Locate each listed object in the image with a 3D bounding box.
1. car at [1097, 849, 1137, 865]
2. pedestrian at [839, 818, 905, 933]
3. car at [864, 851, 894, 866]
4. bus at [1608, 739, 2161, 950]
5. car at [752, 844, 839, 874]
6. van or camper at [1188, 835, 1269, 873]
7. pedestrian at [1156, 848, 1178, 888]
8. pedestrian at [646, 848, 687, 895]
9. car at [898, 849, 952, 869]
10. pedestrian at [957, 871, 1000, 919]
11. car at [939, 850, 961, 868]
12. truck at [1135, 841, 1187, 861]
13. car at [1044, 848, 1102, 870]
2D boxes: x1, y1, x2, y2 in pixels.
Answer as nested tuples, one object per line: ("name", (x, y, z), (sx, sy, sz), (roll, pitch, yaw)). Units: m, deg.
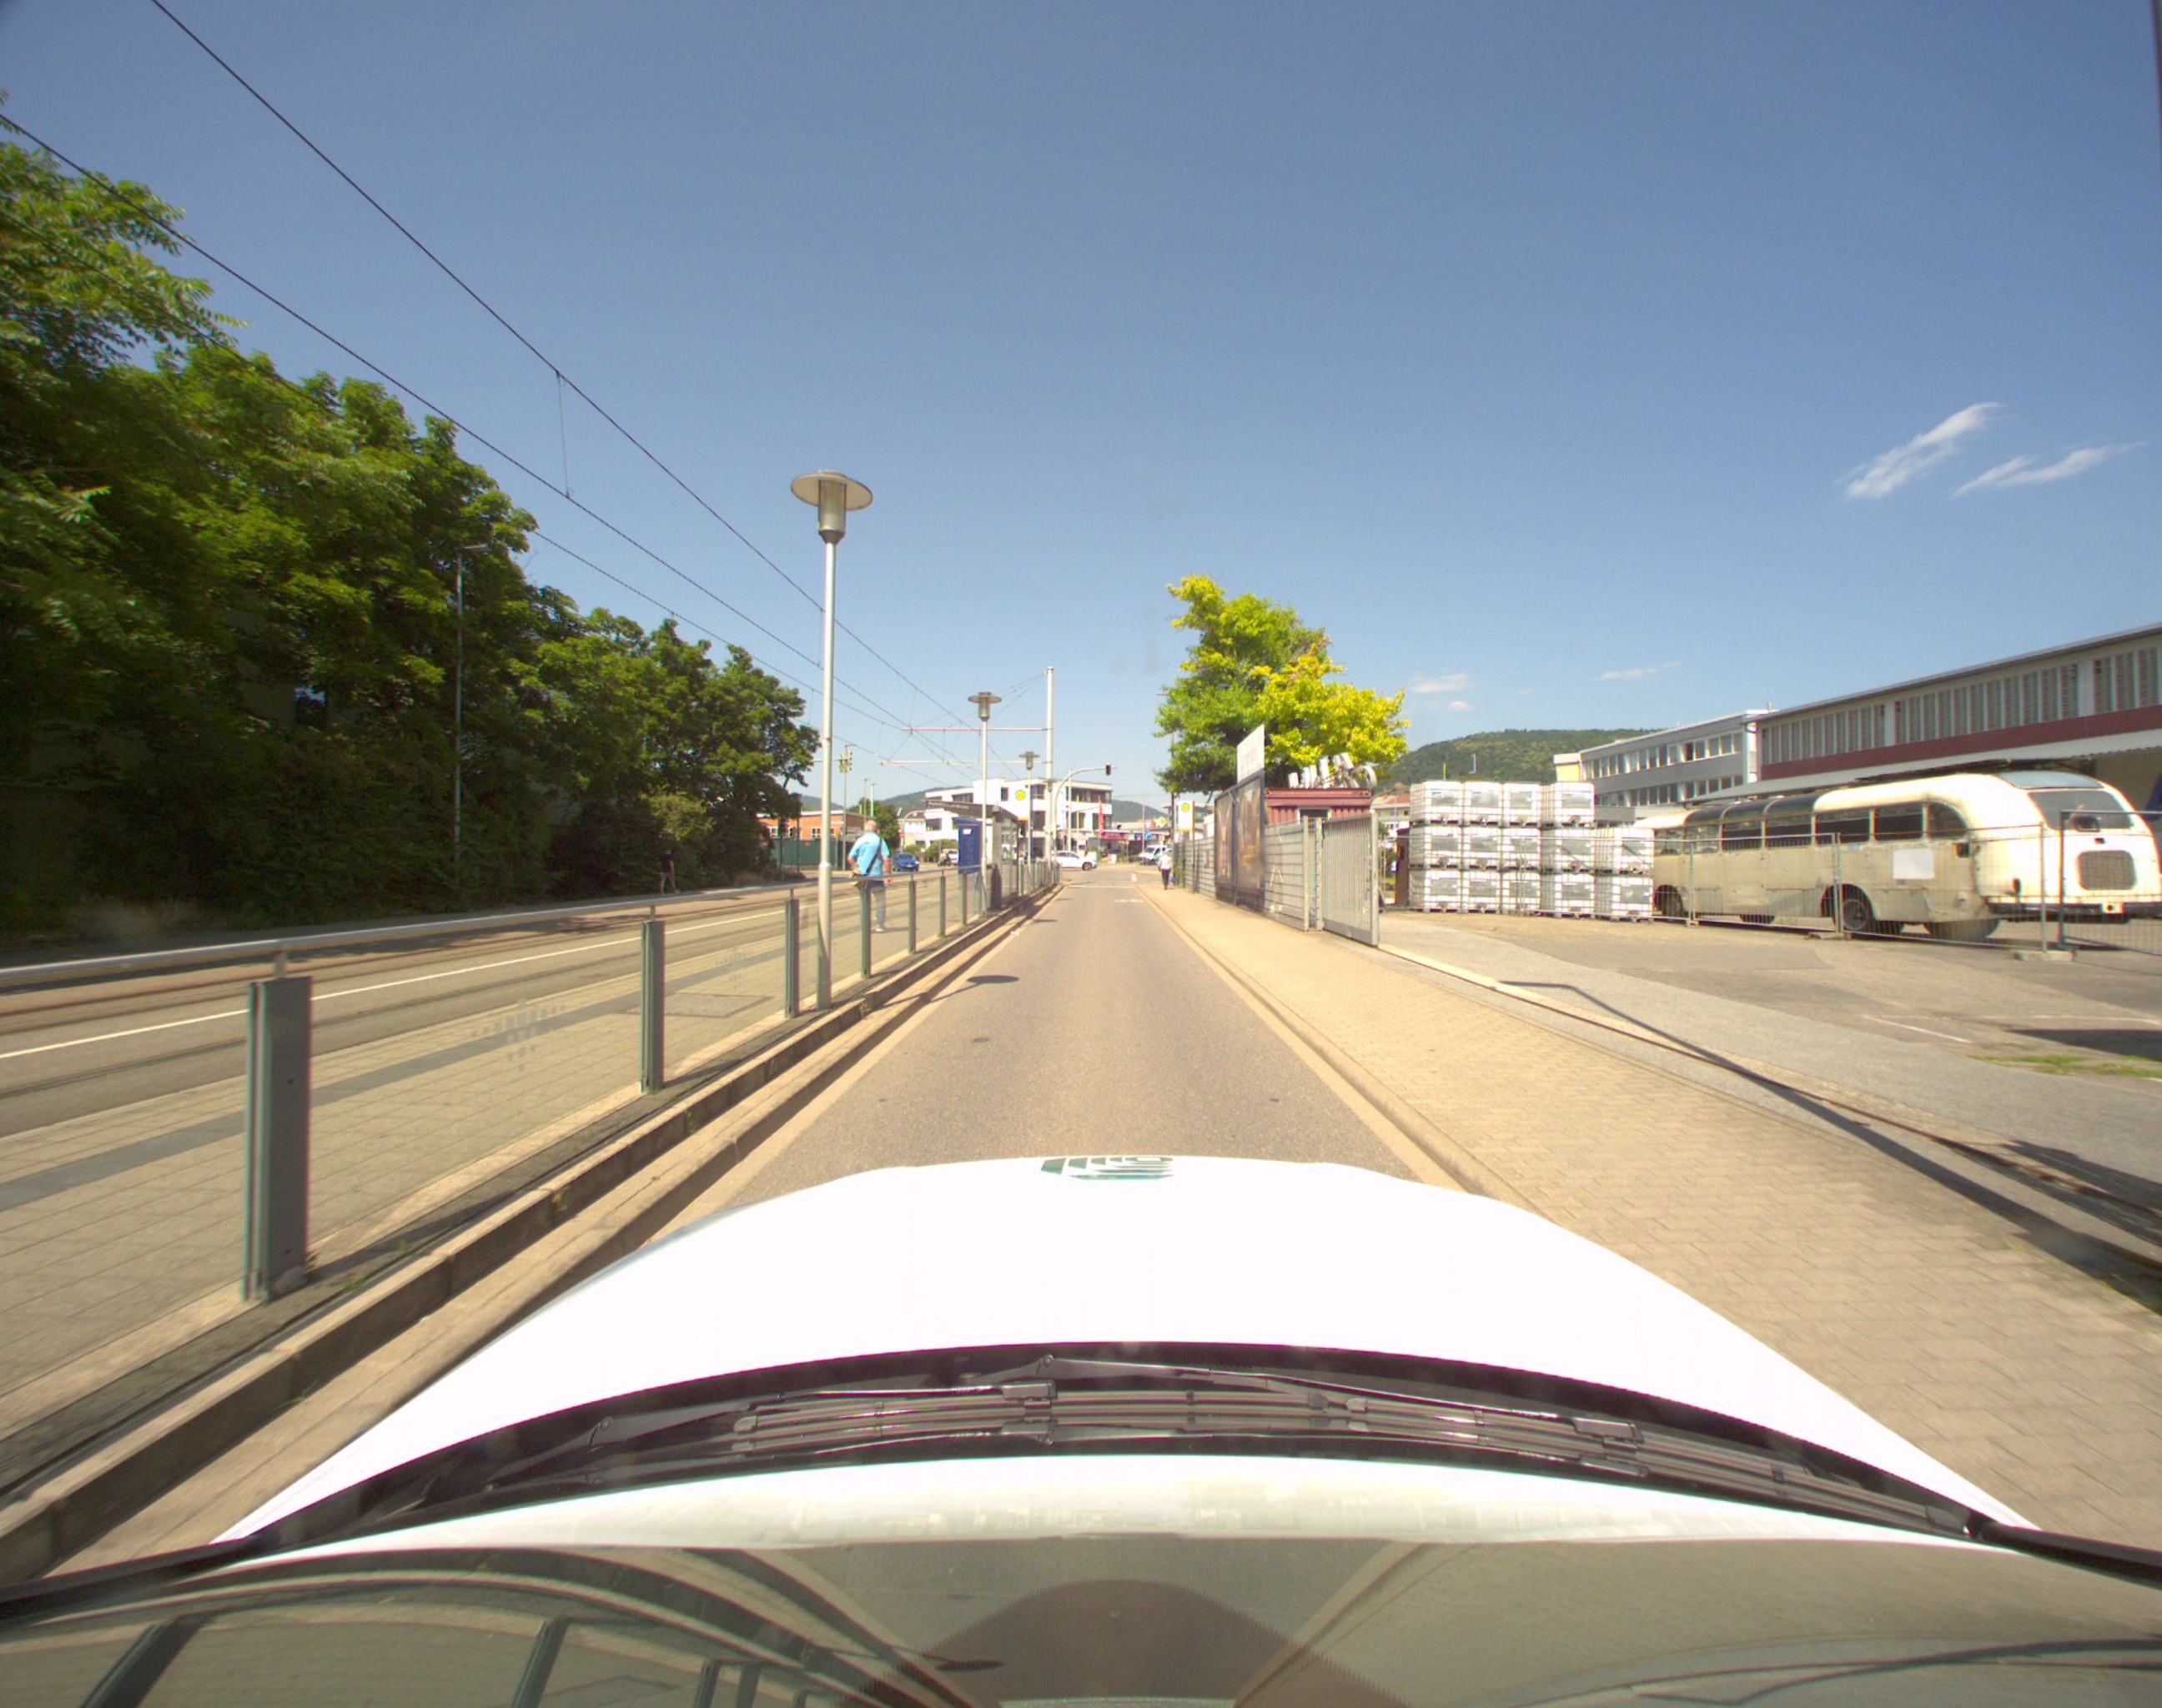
("car", (4.656, 0.393, 104.573), (5.309, 1.965, 1.942), (0, 0, -41))
("pedestrian", (-3.244, 0.319, 12.714), (0.721, 1.724, 0.945), (1, 0, 1))
("car", (-19.815, 0.388, 79.728), (1.917, 1.442, 4.556), (0, 0, -26))
("bus", (15.681, 0.043, 17.390), (2.555, 3.172, 10.273), (0, -2, 3))
("car", (-18.613, 0.318, 53.212), (4.939, 1.838, 2.075), (0, 0, -44))
("van or camper", (10.946, -0.009, 60.760), (5.784, 2.773, 2.093), (0, 0, 4))
("pedestrian", (3.693, 0.584, 34.984), (0.810, 1.699, 0.887), (0, 0, -1))
("pedestrian", (-14.864, 0.619, 29.237), (0.883, 1.670, 1.160), (0, 0, 1))
("car", (-12.338, 0.376, 64.293), (4.154, 1.537, 1.798), (0, 0, -14))
("pedestrian", (-2.455, 0.974, 19.558), (0.939, 1.099, 0.726), (0, 0, 0))
("car", (-15.181, 0.529, 94.702), (2.158, 2.013, 5.010), (0, 0, -4))
("truck", (9.525, -0.336, 96.993), (6.418, 2.337, 2.185), (1, 0, -37))
("car", (-0.656, 0.387, 67.220), (4.549, 1.733, 1.993), (0, 0, -10))
